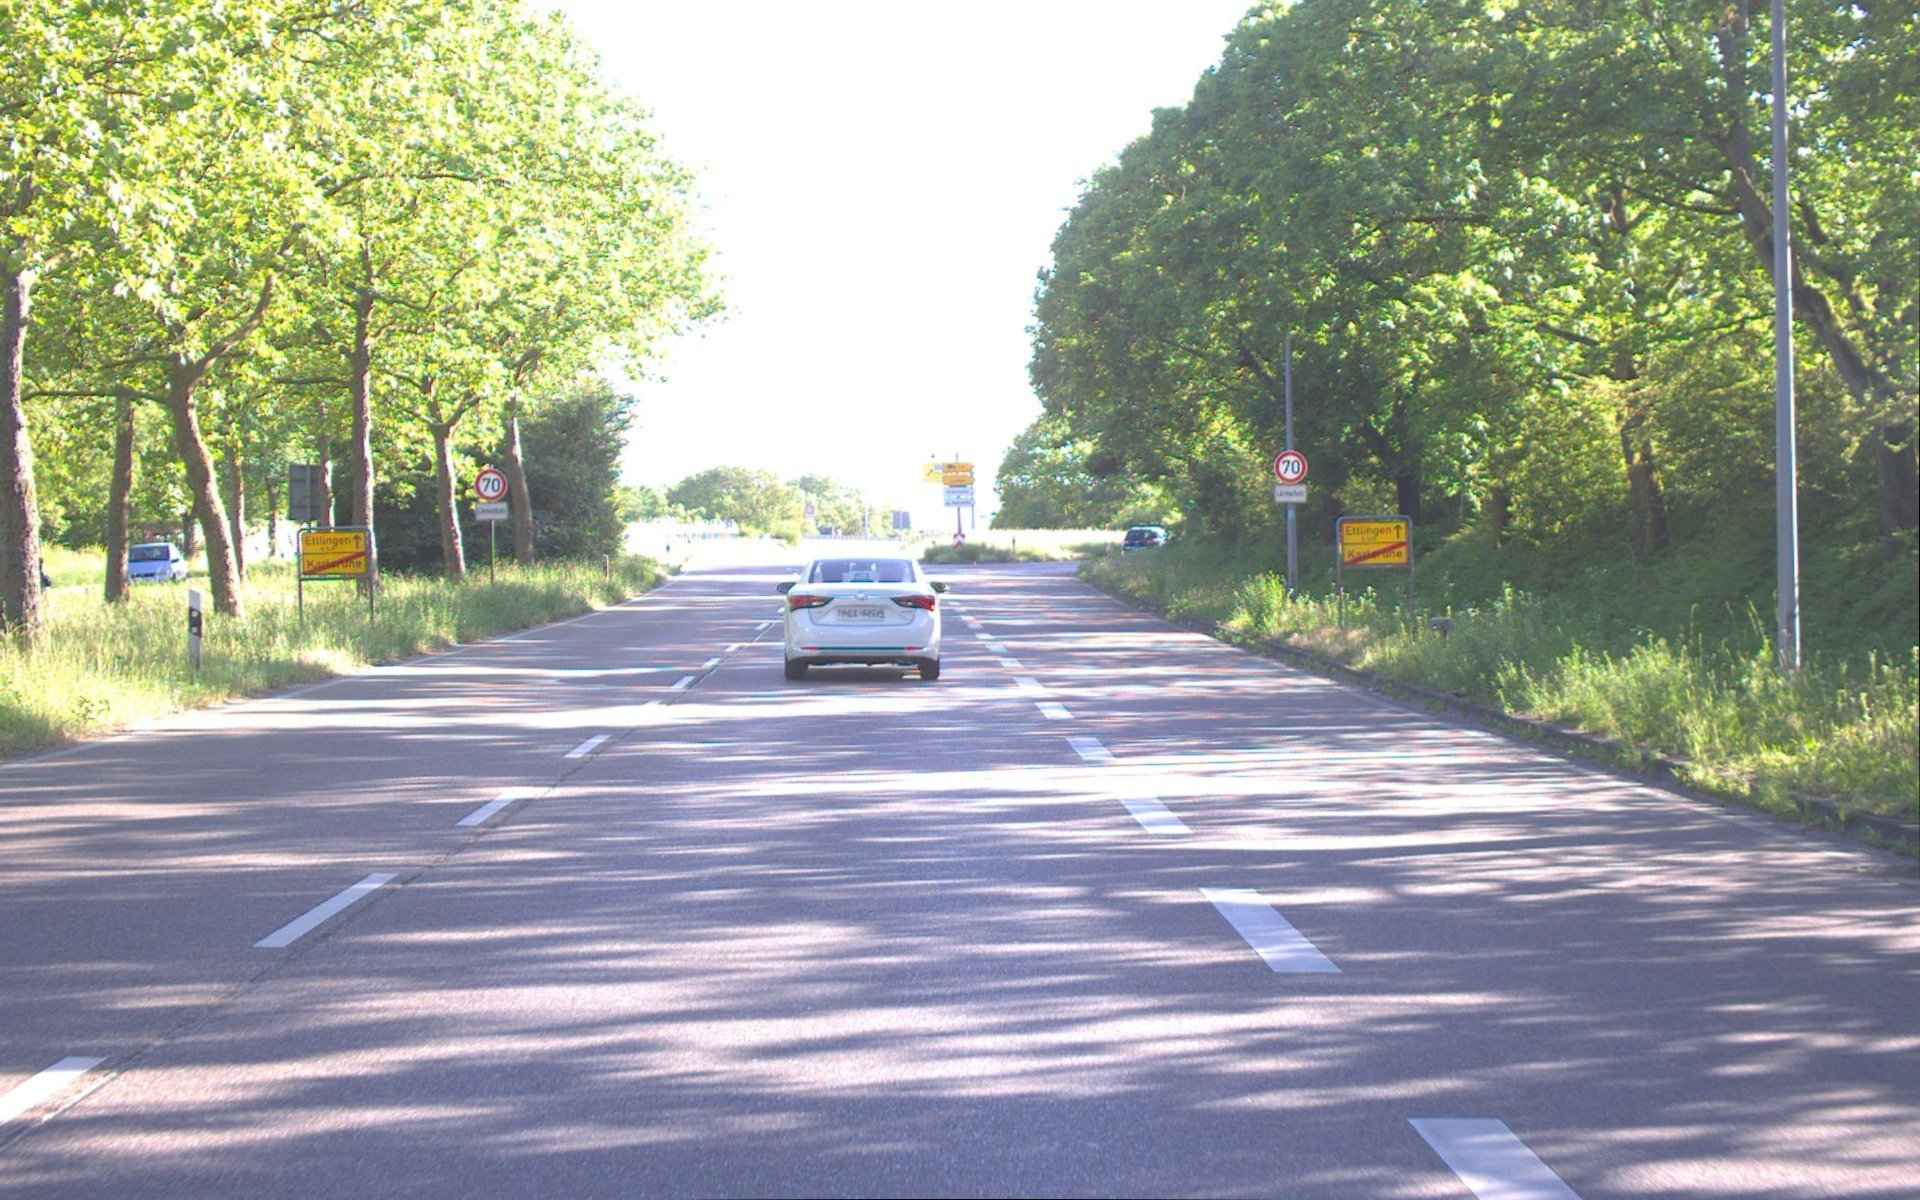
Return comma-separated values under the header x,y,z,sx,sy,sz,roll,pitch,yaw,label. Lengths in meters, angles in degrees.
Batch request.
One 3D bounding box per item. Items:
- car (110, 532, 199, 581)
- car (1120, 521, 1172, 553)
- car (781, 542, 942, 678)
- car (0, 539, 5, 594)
x,y,z,sx,sy,sz,roll,pitch,yaw,label
-24.967,-1.361,106.677,1.767,1.459,4.366,-1,1,-1,car
8.735,-2.947,161.111,1.768,1.459,4.364,0,0,12,car
-1.143,0.075,40.345,1.767,1.459,4.367,-1,1,-1,car
-26.563,-0.846,90.356,1.767,1.459,4.366,-1,1,-1,car
